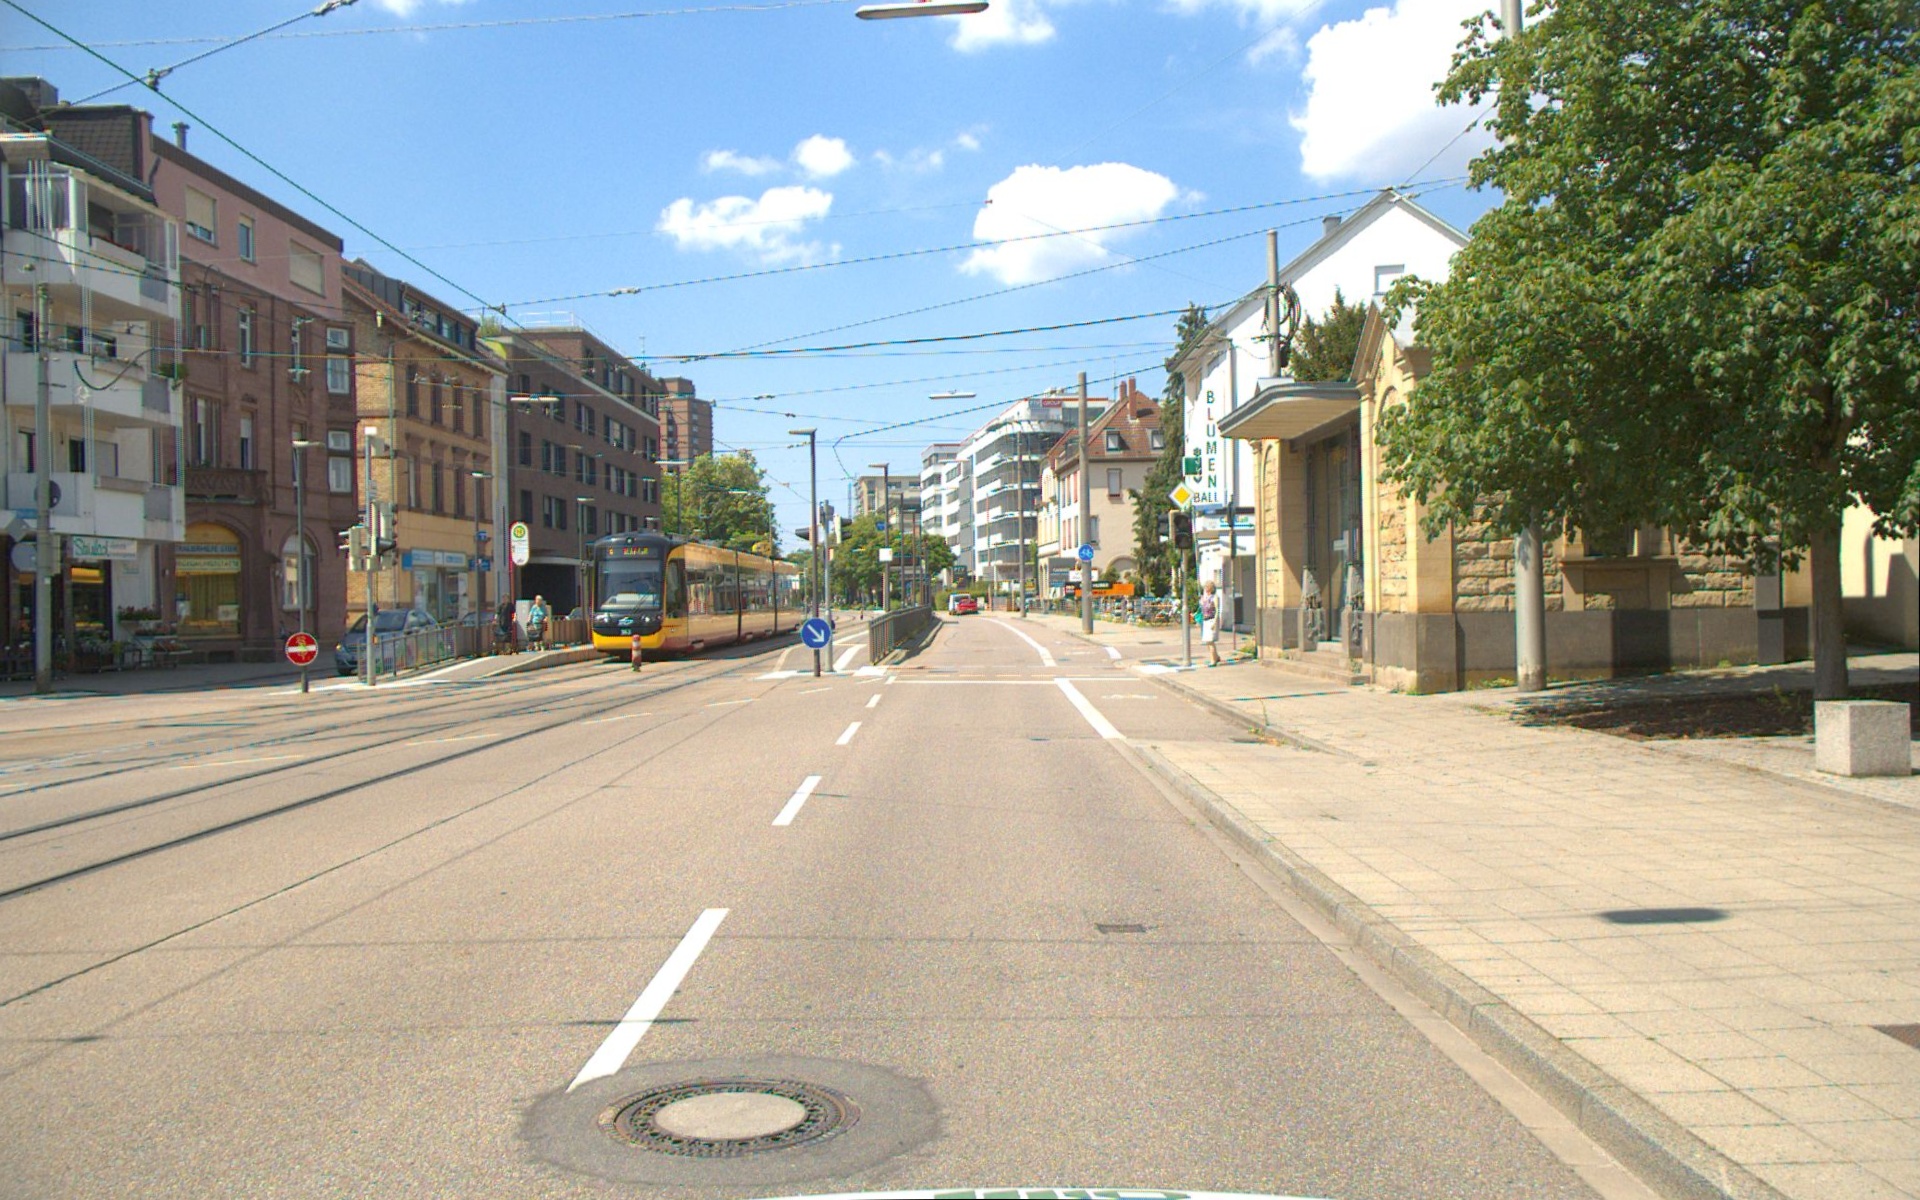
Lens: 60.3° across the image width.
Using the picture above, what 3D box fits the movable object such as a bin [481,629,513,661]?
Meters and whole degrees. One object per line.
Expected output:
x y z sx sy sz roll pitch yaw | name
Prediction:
-12.010 1.158 42.899 0.661 0.794 0.538 -2 0 -2 | movable object such as a bin

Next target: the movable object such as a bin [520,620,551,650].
-11.613 0.963 45.279 0.661 0.794 0.619 -2 0 -2 | movable object such as a bin

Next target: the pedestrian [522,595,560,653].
-11.604 0.655 45.847 0.769 1.587 0.920 -2 0 0 | pedestrian

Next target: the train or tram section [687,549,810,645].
-8.989 -0.081 72.651 3.169 3.629 16.348 -2 0 0 | train or tram section

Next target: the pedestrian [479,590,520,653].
-12.056 0.558 43.344 0.769 1.587 0.920 -2 0 0 | pedestrian

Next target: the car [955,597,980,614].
0.716 0.514 155.715 1.955 1.467 4.012 -2 0 -6 | car

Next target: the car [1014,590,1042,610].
5.989 -0.009 145.838 1.842 1.652 4.635 -4 0 -5 | car

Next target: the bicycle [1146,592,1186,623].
8.093 0.300 65.009 1.500 1.105 0.430 -3 0 6 | bicycle

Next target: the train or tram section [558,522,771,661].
-9.049 -0.177 54.370 3.184 3.629 20.500 -2 0 0 | train or tram section

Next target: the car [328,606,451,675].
-15.104 1.029 44.020 1.700 1.643 4.604 -2 0 -1 | car

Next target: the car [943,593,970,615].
-0.371 0.354 162.178 1.956 2.026 5.505 -3 0 -7 | car

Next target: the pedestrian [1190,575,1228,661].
4.993 0.350 33.154 0.552 1.695 0.681 -2 0 23 | pedestrian

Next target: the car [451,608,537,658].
-15.155 1.049 53.966 1.621 1.470 3.853 -2 0 0 | car
